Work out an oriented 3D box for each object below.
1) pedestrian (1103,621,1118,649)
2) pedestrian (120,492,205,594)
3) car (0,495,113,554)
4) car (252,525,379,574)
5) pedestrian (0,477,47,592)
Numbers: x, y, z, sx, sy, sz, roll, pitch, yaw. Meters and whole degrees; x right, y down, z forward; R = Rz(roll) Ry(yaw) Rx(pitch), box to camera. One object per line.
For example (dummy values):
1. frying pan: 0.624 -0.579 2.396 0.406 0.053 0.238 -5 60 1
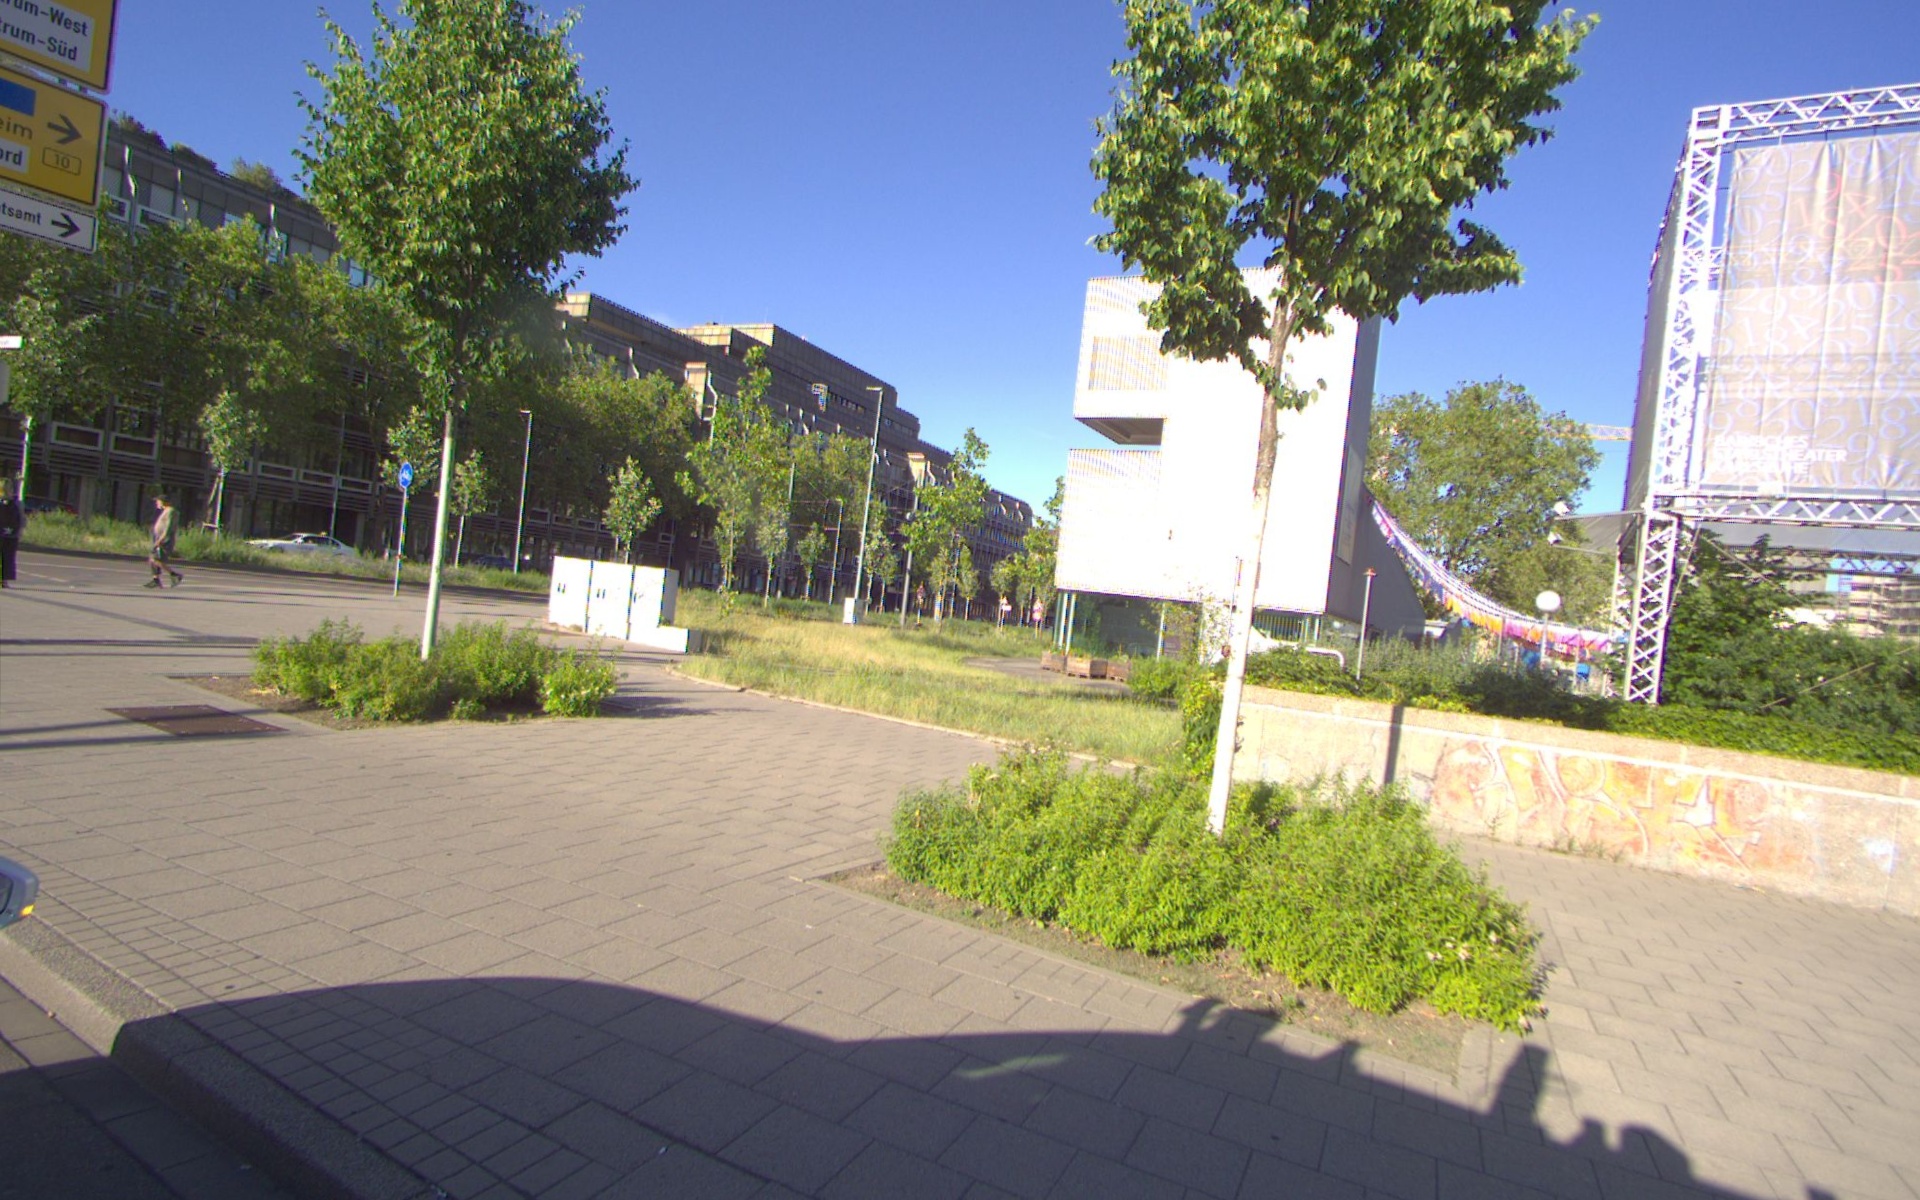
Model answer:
1. pedestrian: 9.088 2.104 60.730 0.520 1.571 0.638 7 -1 31
2. pedestrian: -14.663 -1.036 18.501 0.755 1.728 0.873 7 1 30
3. car: -33.169 -2.773 35.711 1.792 1.704 4.302 7 -1 21
4. car: -31.359 -2.429 49.098 1.794 1.704 4.854 7 -1 28
5. pedestrian: -14.269 -0.996 14.897 0.859 1.634 0.767 7 1 30
